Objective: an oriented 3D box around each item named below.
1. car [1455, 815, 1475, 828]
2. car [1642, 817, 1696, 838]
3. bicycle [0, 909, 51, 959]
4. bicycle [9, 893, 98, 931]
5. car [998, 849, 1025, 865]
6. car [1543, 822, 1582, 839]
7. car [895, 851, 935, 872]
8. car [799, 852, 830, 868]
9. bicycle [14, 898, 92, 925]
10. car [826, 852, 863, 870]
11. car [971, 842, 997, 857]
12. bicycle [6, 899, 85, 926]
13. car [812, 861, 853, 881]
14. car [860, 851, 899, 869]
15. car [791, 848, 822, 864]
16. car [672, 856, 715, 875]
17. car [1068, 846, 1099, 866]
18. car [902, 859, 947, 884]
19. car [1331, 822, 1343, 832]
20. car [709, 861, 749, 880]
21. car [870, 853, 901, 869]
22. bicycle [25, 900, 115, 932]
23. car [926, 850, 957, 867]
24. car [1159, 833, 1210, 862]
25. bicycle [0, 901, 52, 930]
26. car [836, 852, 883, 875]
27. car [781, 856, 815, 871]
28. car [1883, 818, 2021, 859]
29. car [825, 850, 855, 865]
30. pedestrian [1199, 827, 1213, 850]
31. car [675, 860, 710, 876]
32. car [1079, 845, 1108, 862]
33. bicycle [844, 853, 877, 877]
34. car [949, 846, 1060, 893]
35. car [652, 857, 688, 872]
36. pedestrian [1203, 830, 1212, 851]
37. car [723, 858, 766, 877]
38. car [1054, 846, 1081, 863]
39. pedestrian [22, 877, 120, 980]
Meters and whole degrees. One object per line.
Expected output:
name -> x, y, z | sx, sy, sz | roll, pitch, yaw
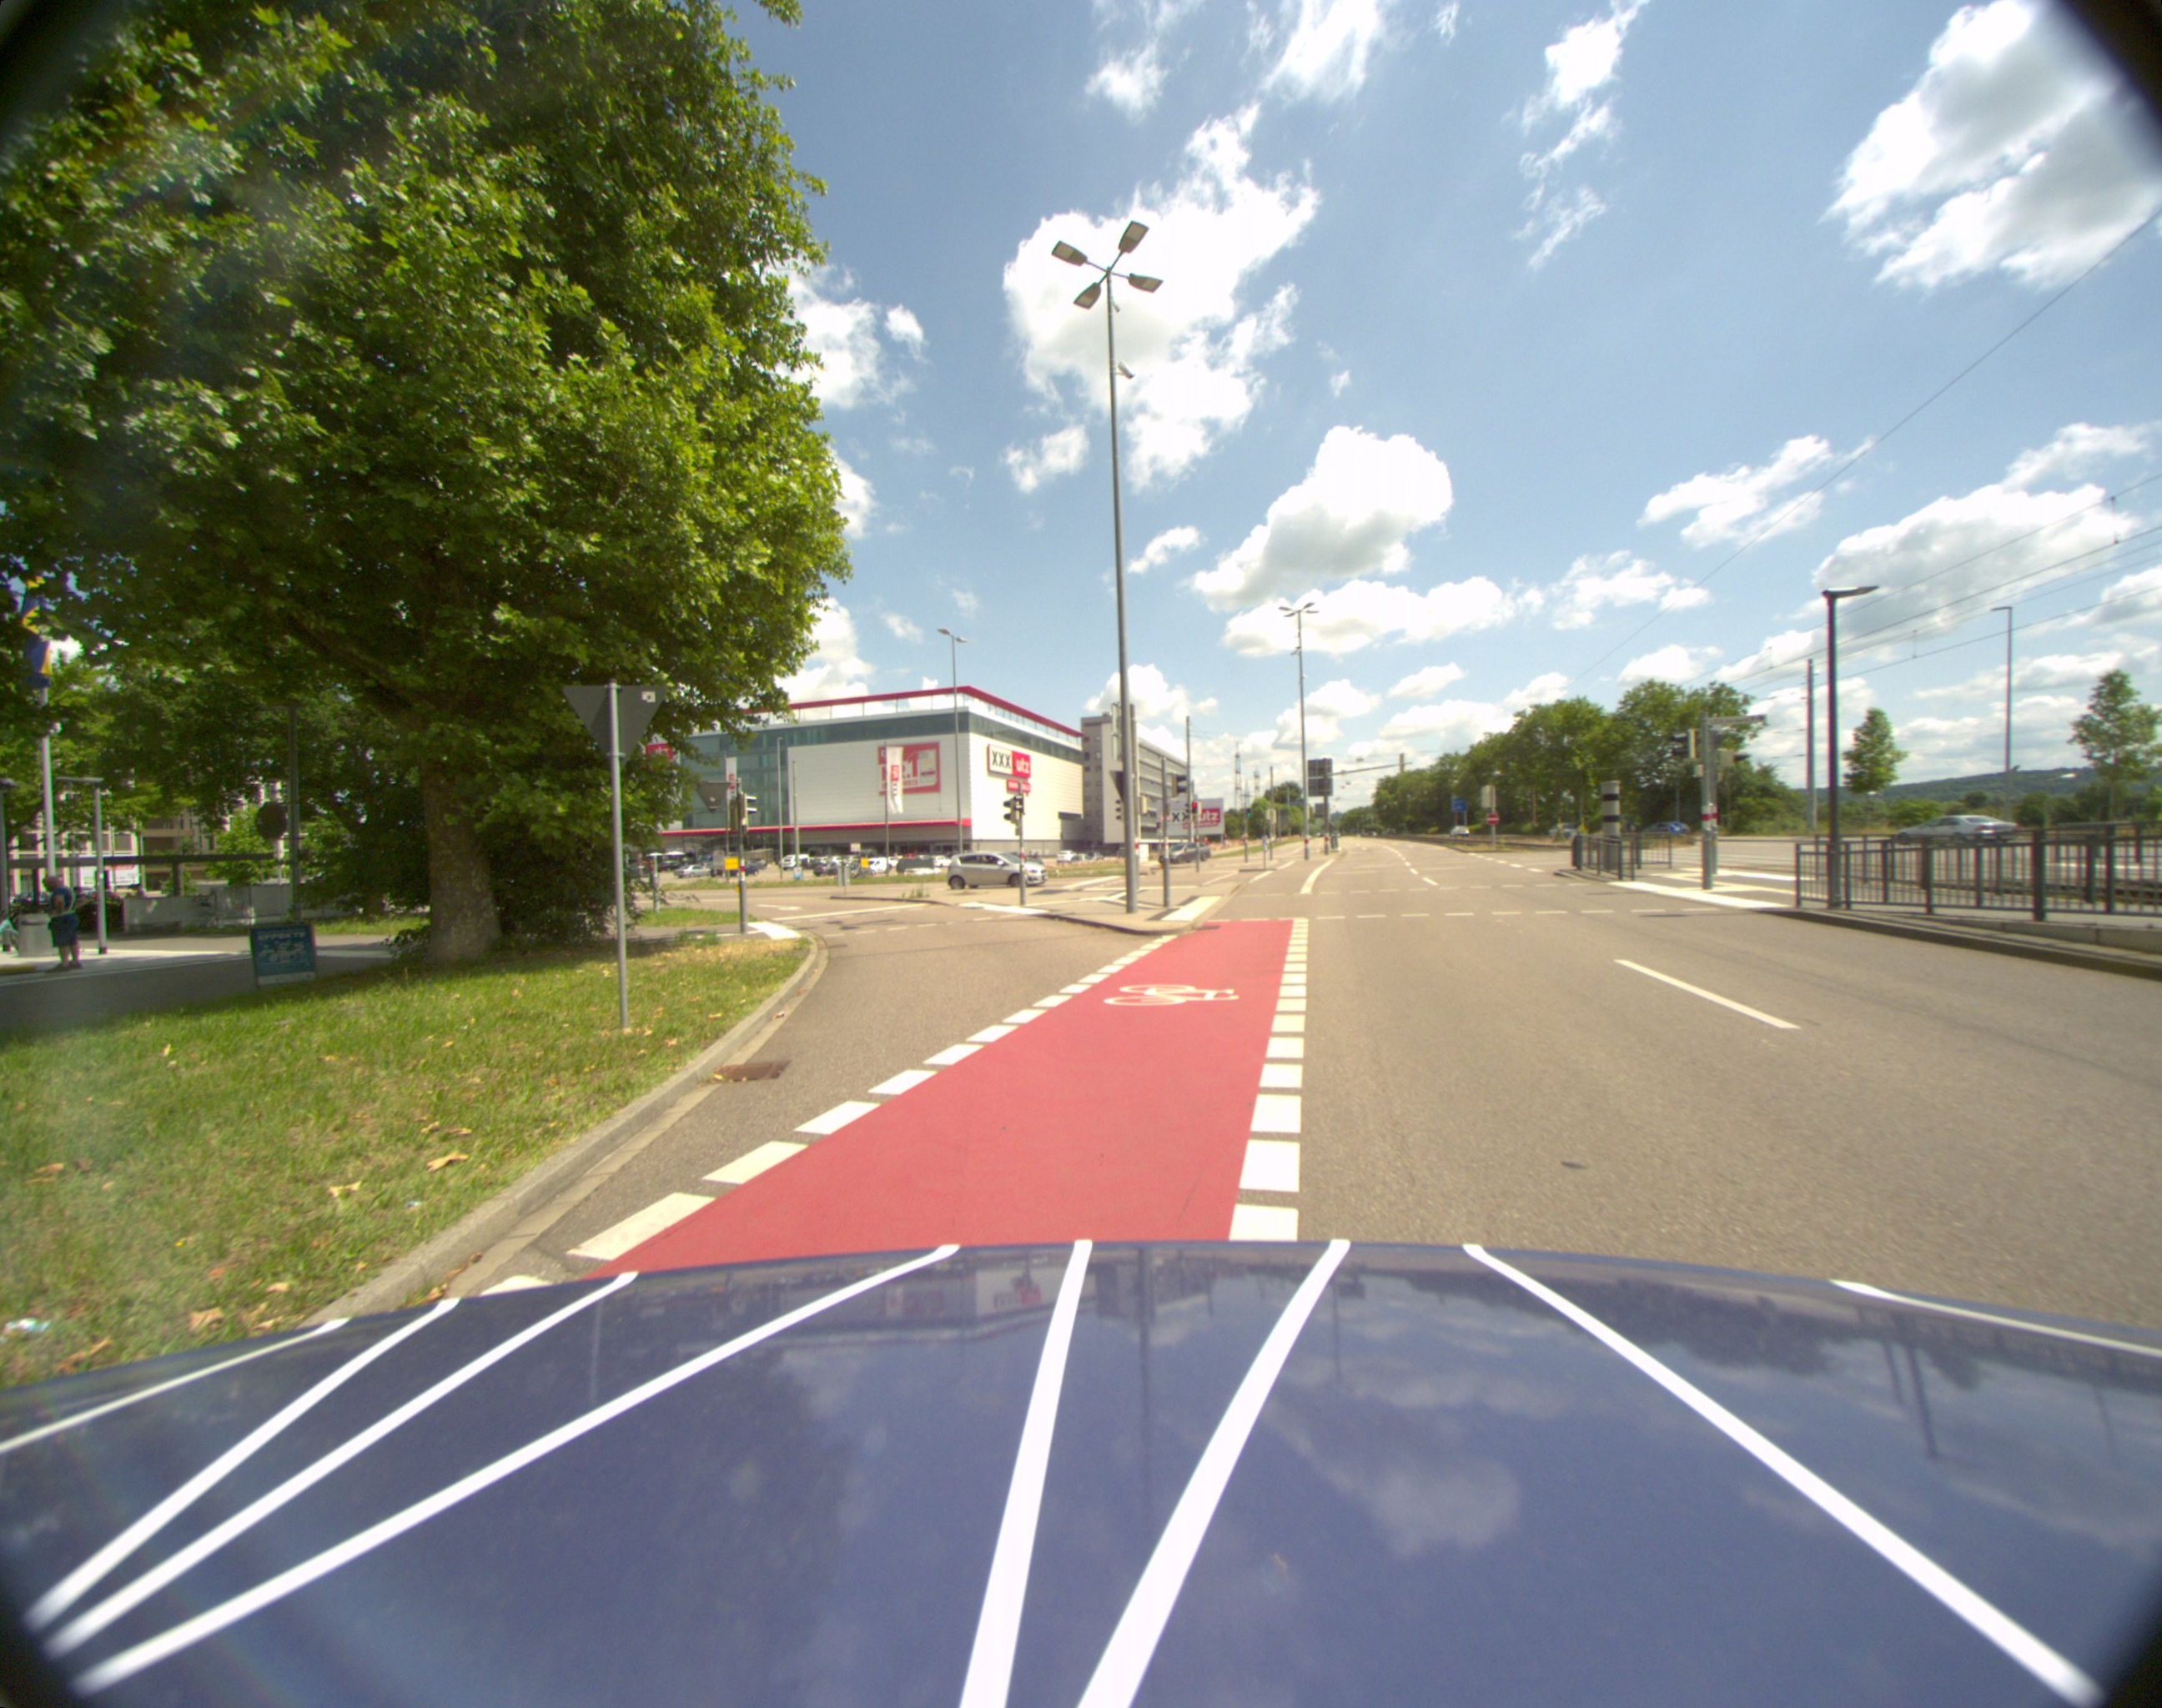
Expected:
car -> 56.164, -4.690, 111.019 | 1.995, 1.797, 5.144 | -2, 1, 33
car -> 44.885, -2.004, 58.111 | 1.667, 1.401, 3.895 | -2, 1, 11
bicycle -> -25.609, 1.914, 17.729 | 0.504, 1.101, 1.926 | 0, 0, 1
bicycle -> -37.159, 2.093, 27.516 | 0.423, 1.224, 1.870 | -2, 0, 14
car -> -9.087, 0.348, 99.813 | 1.996, 1.978, 4.368 | -2, 1, 18
car -> 49.043, -2.354, 77.425 | 1.810, 1.649, 4.325 | 3, 2, 11
car -> -17.543, 0.722, 80.378 | 1.996, 1.978, 4.601 | -1, 2, 18
car -> -36.021, 0.841, 102.706 | 1.774, 2.002, 4.005 | -2, 1, 18
bicycle -> -41.981, 2.335, 31.063 | 0.423, 0.988, 1.870 | -2, -1, 14
car -> -27.743, 0.844, 89.355 | 1.996, 1.978, 4.368 | 0, 1, 18
car -> -14.209, -0.674, 111.573 | 1.996, 1.978, 4.091 | -2, 1, 20
bicycle -> -42.454, 2.397, 31.184 | 0.423, 0.988, 1.870 | -2, -1, 14
car -> -27.181, 1.859, 83.344 | 1.996, 1.978, 4.368 | -2, 1, 18
car -> -22.065, 0.656, 83.405 | 1.996, 1.829, 4.368 | -2, 1, 18
car -> -40.790, 0.268, 112.884 | 1.866, 2.293, 4.576 | -2, 1, 18
car -> -45.651, 1.317, 89.597 | 1.996, 1.978, 4.368 | -2, 1, 18
car -> 0.268, 0.173, 79.720 | 1.996, 1.978, 4.368 | -2, 1, 18
car -> -13.984, 1.560, 68.214 | 1.996, 1.978, 4.368 | -2, 1, 18
car -> 56.536, -5.938, 167.968 | 1.995, 2.002, 4.006 | -2, 0, 25
car -> -41.002, 1.895, 88.565 | 1.839, 1.978, 4.089 | -1, 2, 17
car -> -25.121, 0.884, 97.764 | 1.996, 1.978, 4.091 | -2, 1, 18
bicycle -> -36.006, 2.193, 27.097 | 0.423, 0.989, 1.870 | 0, 1, 14
car -> -17.644, 0.587, 96.221 | 1.996, 1.978, 4.091 | -2, 1, 18
car -> 7.581, -0.502, 55.329 | 1.995, 2.002, 4.008 | -2, 0, 35
bicycle -> -39.267, 2.260, 27.815 | 0.423, 0.989, 1.870 | -1, -1, 14
car -> -20.475, 0.872, 70.403 | 1.996, 1.978, 4.368 | -2, 1, 18
car -> -38.477, 1.279, 103.518 | 1.996, 1.978, 4.368 | -2, 1, 18
car -> 41.616, -0.735, 36.506 | 1.882, 1.764, 4.670 | -2, 0, 11
car -> -34.202, 0.469, 107.765 | 1.996, 2.002, 4.005 | -2, 0, 18
pedestrian -> 10.431, -1.313, 63.208 | 0.867, 1.828, 0.797 | -3, 4, -10
car -> -55.601, 1.986, 108.812 | 1.996, 1.978, 4.368 | -2, 1, 18
car -> 1.575, -0.078, 91.030 | 2.245, 1.978, 4.368 | -2, 1, 18
bicycle -> -16.080, 0.822, 55.414 | 2.044, 1.665, 1.022 | -2, 0, 19
car -> -3.023, 0.595, 30.221 | 3.826, 1.461, 1.902 | -5, 2, 16
car -> -59.726, 1.514, 110.524 | 1.996, 1.978, 4.368 | -2, 1, 18
pedestrian -> 11.508, -1.222, 69.083 | 0.595, 1.800, 0.535 | -2, 1, 29
car -> -38.778, 1.534, 87.617 | 1.996, 1.978, 4.367 | -2, 2, 18
car -> -1.716, 0.042, 97.038 | 1.996, 1.978, 4.368 | -2, 1, 18
pedestrian -> -19.905, 1.423, 14.984 | 0.971, 1.891, 1.012 | -1, 2, 33
